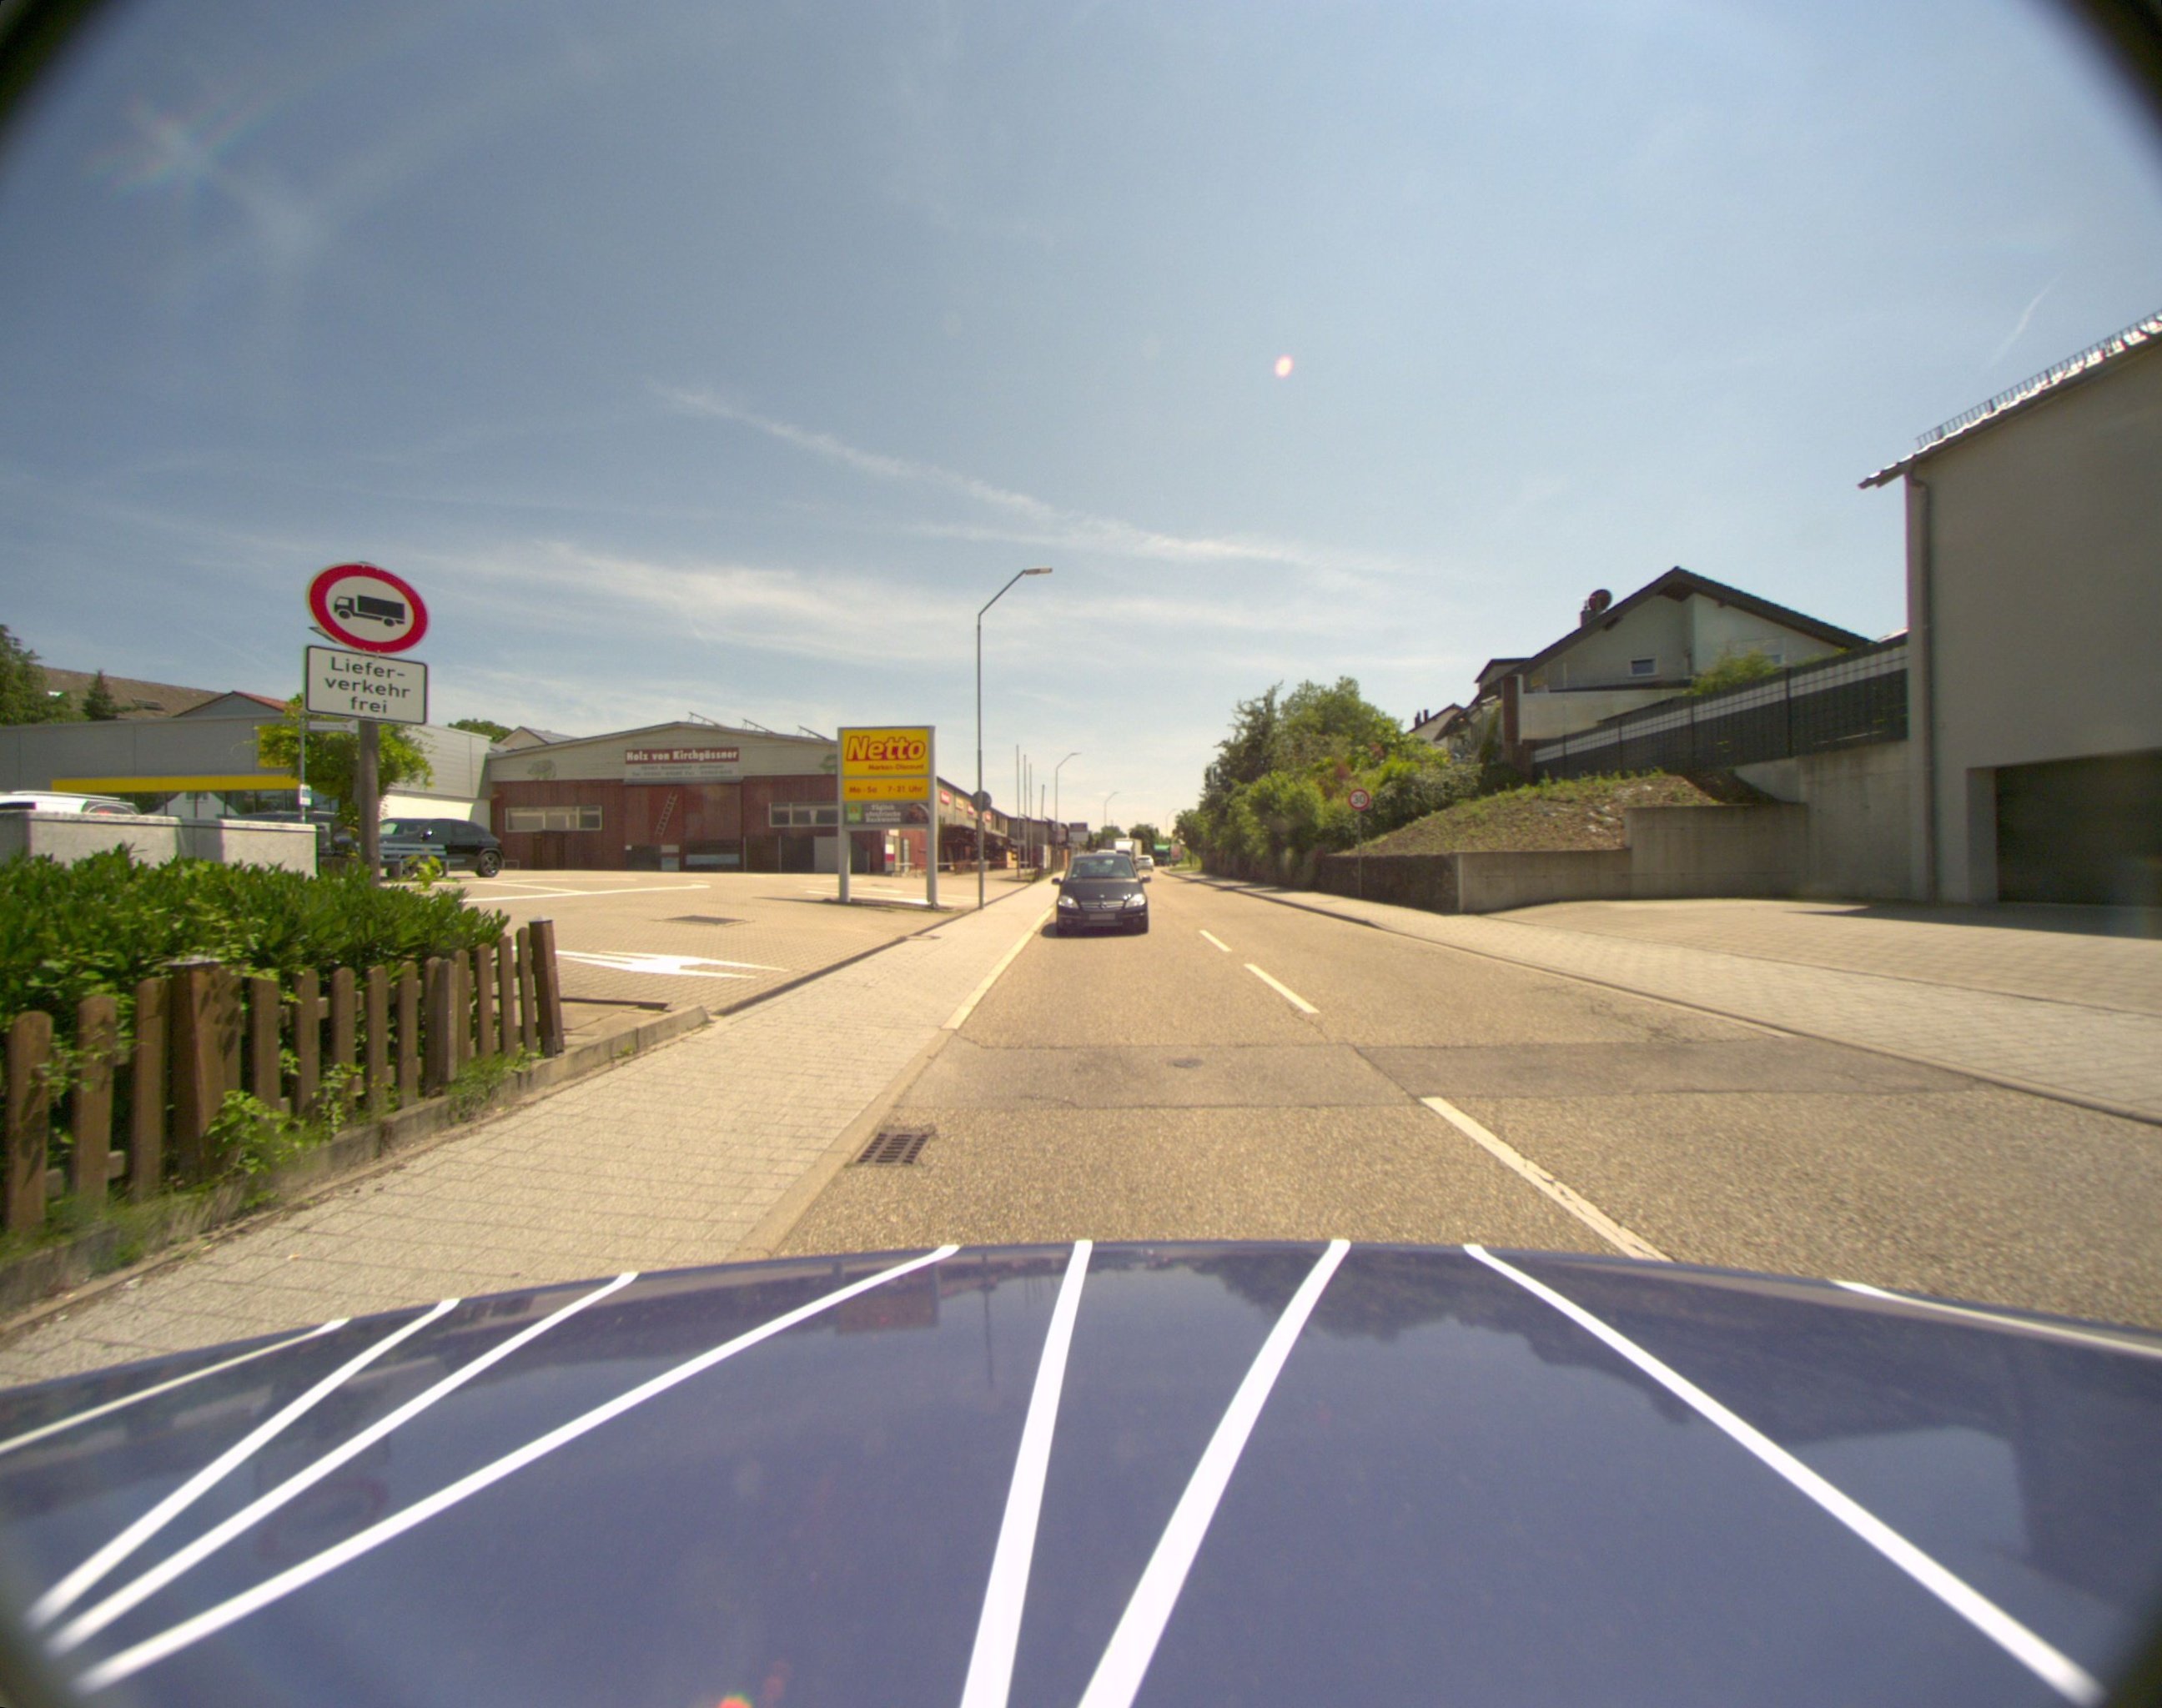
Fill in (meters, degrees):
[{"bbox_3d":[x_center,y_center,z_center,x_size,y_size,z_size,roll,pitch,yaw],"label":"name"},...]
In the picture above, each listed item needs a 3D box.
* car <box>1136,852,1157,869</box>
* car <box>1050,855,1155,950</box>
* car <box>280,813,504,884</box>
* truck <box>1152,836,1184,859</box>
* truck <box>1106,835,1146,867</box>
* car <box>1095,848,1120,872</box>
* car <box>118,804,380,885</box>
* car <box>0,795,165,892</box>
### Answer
[{"bbox_3d":[6.164,0.632,71.436,1.826,1.516,3.559,-2,0,6],"label":"car"},{"bbox_3d":[0.447,0.858,15.358,1.764,1.583,4.198,-2,0,2],"label":"car"},{"bbox_3d":[-17.189,-0.094,19.303,1.913,1.586,4.209,1,-1,-2],"label":"car"},{"bbox_3d":[13.479,-0.954,116.861,2.847,3.214,8.177,2,0,21],"label":"truck"},{"bbox_3d":[5.497,-0.274,90.860,3.199,3.578,8.316,2,0,14],"label":"truck"},{"bbox_3d":[2.337,0.489,65.654,1.867,1.897,5.038,-2,0,4],"label":"car"},{"bbox_3d":[-20.398,-0.213,18.942,1.912,1.737,4.129,2,0,1],"label":"car"},{"bbox_3d":[-20.303,-0.229,13.939,1.912,1.737,4.129,2,0,1],"label":"car"}]
